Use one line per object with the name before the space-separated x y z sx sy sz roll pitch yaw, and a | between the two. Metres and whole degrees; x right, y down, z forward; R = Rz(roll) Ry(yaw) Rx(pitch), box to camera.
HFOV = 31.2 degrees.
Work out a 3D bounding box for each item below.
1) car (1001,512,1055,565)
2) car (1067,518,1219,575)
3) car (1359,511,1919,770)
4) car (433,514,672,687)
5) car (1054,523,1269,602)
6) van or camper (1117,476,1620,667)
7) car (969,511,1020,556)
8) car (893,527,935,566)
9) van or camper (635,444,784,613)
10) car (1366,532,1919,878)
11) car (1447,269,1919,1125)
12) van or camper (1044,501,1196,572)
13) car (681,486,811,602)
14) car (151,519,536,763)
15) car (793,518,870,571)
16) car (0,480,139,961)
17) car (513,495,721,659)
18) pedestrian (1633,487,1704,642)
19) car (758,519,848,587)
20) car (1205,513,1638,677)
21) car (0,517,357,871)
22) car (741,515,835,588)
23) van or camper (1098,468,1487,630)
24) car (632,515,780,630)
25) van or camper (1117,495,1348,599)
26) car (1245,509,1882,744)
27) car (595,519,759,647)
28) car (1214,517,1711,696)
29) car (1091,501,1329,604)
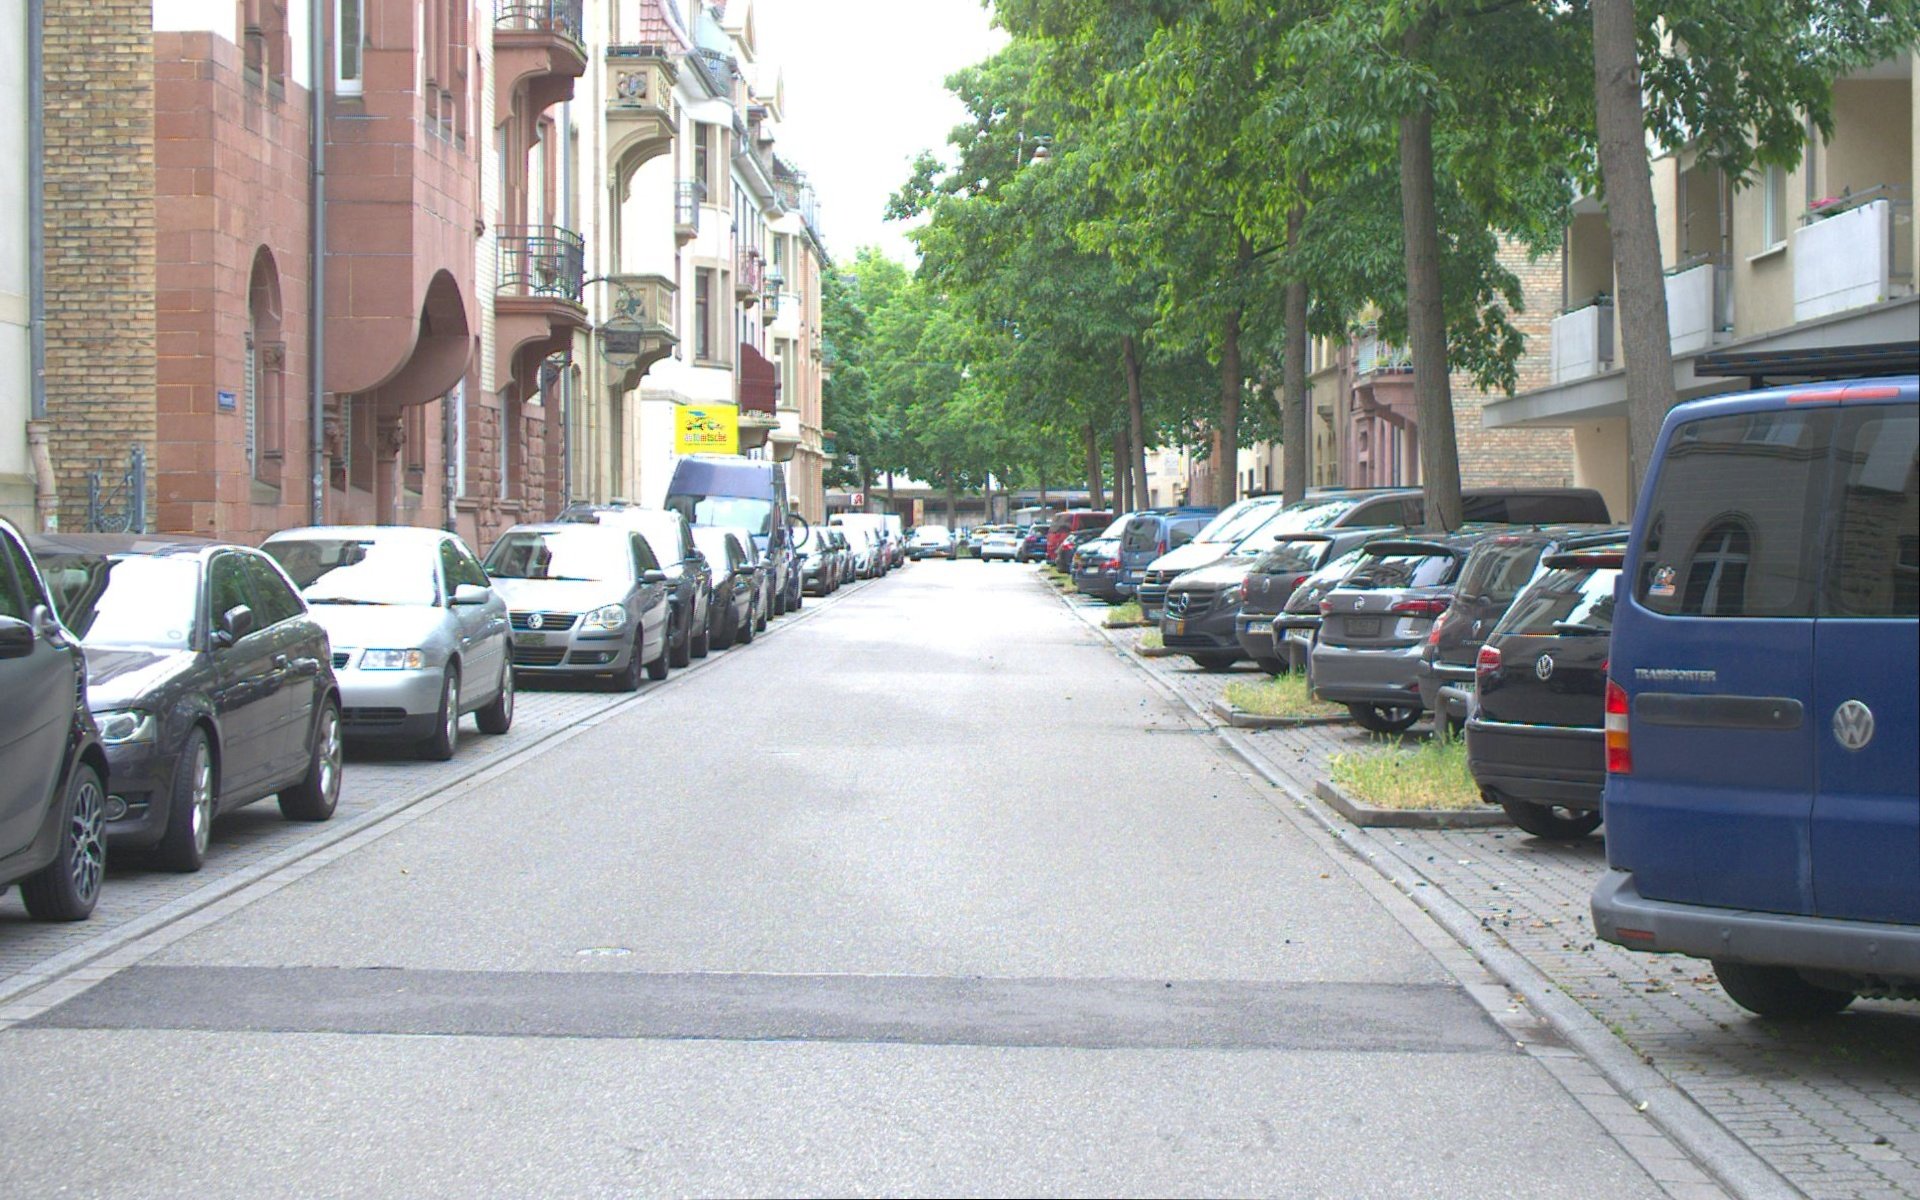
car | 2.772 -2.533 140.632 1.993 2.007 4.000 3 1 0
car | 4.755 -1.412 89.495 3.760 1.460 1.729 0 1 -5
car | 4.516 0.219 22.131 3.358 1.491 1.852 -2 1 -22
car | -3.638 -0.041 31.280 1.662 1.416 3.929 2 2 0
car | 4.114 -0.771 70.168 4.010 1.554 1.885 0 1 -30
van or camper | 4.416 -0.334 37.051 5.005 1.863 2.127 -2 1 -27
car | 1.455 -2.825 146.353 1.993 1.788 4.000 2 0 -1
car | -2.036 -2.395 153.651 1.821 1.639 3.754 2 0 0
van or camper | -4.057 -1.186 56.549 2.008 2.642 5.316 0 1 1
car | 4.053 0.405 16.509 4.102 1.437 1.852 -1 2 -39
car | 3.910 0.129 10.674 4.693 2.188 2.066 -4 3 -39
van or camper | 4.832 -1.922 103.551 4.146 2.078 1.953 -1 1 -27
car | -3.814 -1.017 62.060 1.993 2.007 4.891 0 1 1
car | -3.918 0.194 22.484 1.726 1.382 4.137 2 2 0
car | -3.599 -1.581 96.718 1.993 1.470 4.000 0 1 0
car | -3.977 0.374 11.704 1.646 1.565 2.957 2 2 -1
car | -3.693 -0.291 37.675 1.786 1.641 4.362 2 2 0
pedestrian | 8.076 -0.410 39.205 0.624 1.736 0.849 -1 1 1
car | -3.565 -1.097 78.828 1.829 1.421 3.801 3 1 0
car | 4.586 -0.076 34.092 3.849 1.497 1.913 -2 1 -29
car | -3.975 0.348 15.554 1.726 1.382 3.929 2 0 1
car | -3.664 -1.054 73.786 1.789 1.475 4.023 1 1 0
van or camper | 4.432 -0.680 45.752 4.729 1.987 2.000 -2 -1 -25
car | -3.451 -0.367 47.284 1.667 1.468 4.000 2 0 0
van or camper | 6.119 -1.185 77.085 4.774 2.130 2.056 1 2 -30
car | 4.429 0.155 25.192 4.213 1.495 1.976 -2 1 -27
car | -3.473 -0.248 42.735 1.634 1.468 4.000 2 1 0
car | 4.558 0.023 31.172 4.038 1.478 1.948 -2 1 -25
car | 4.896 -0.936 67.324 4.171 1.863 2.000 -2 1 -29
